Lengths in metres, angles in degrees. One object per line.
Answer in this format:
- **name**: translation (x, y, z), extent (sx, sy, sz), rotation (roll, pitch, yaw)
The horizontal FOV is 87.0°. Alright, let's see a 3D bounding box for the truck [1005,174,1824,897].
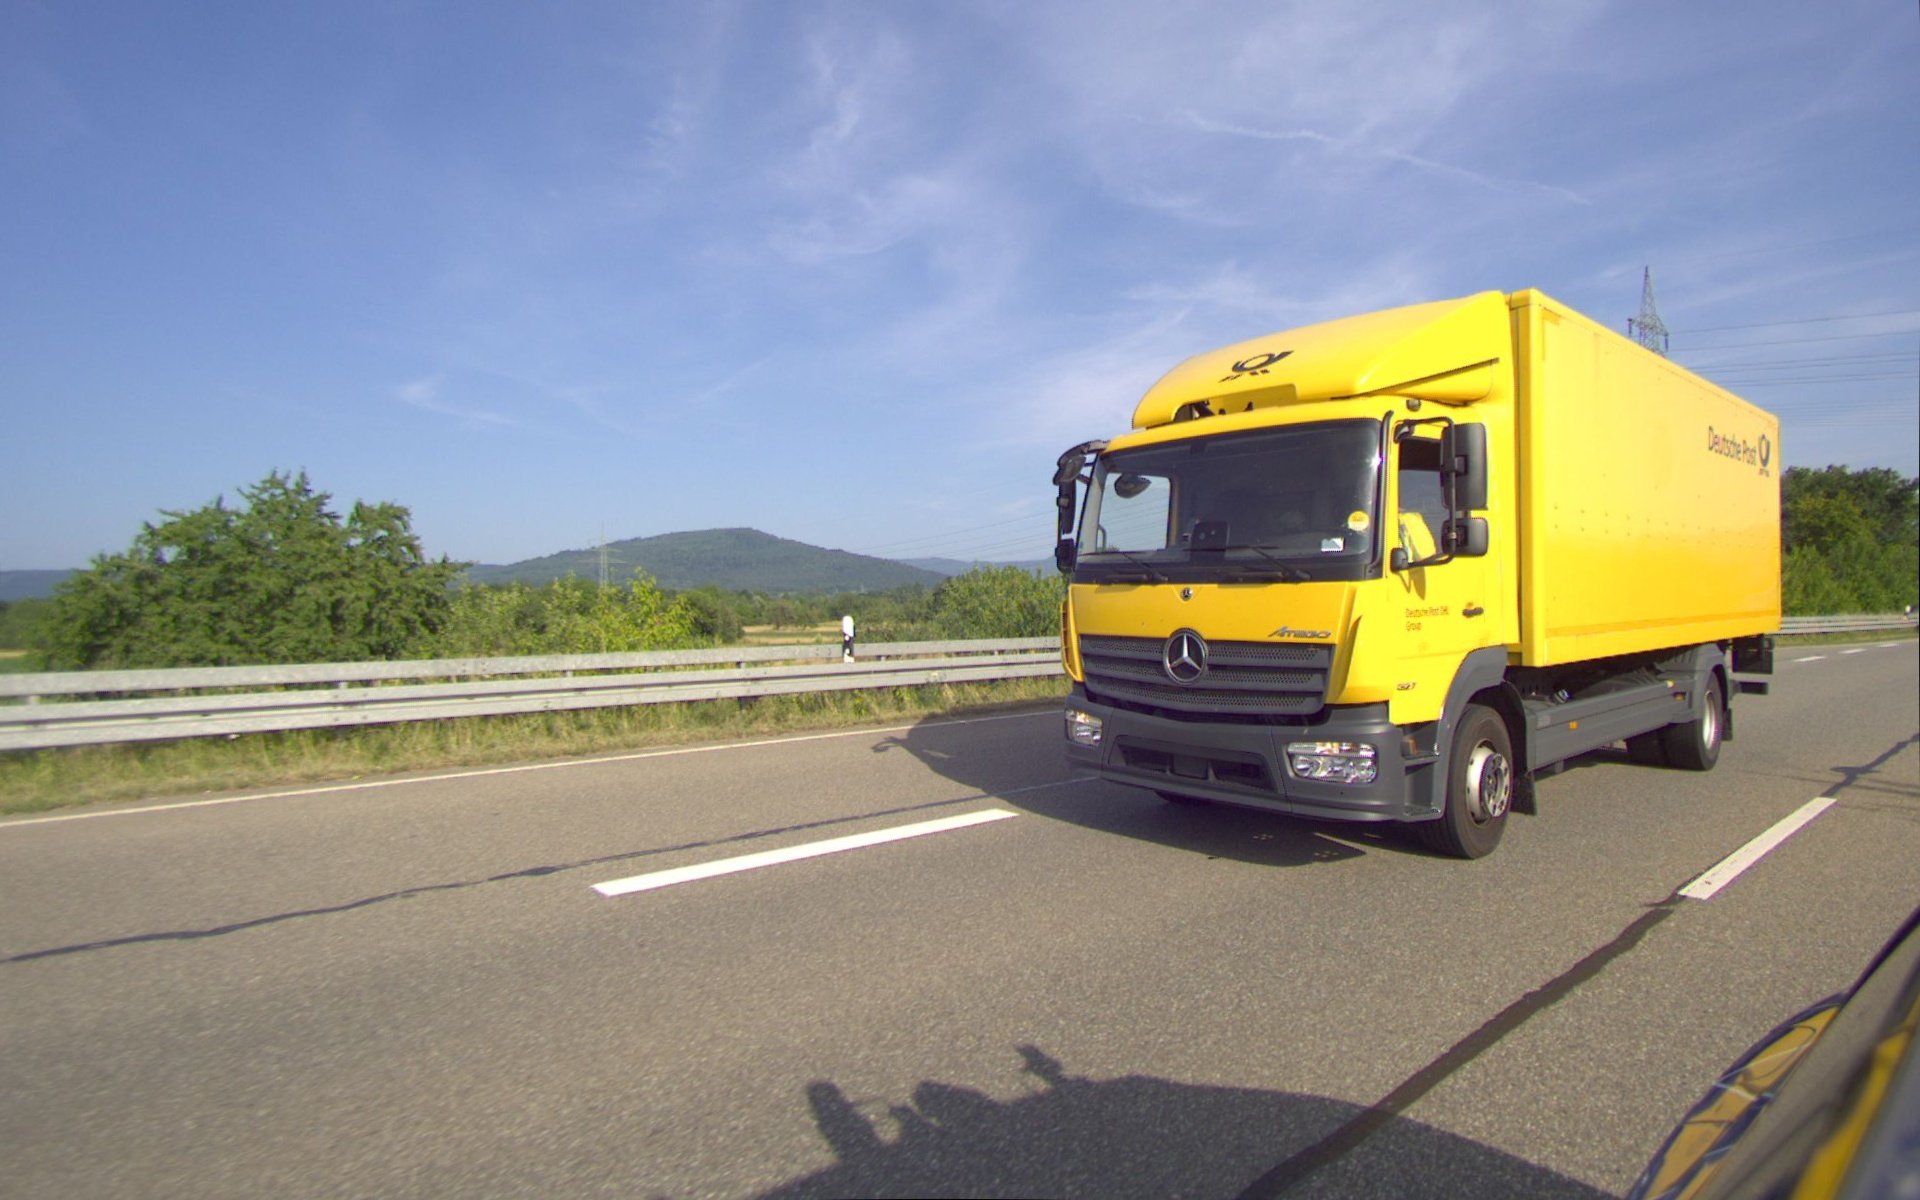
- **truck**: translation (5.076, -0.333, 9.175), extent (10.308, 3.359, 2.783), rotation (0, 0, -42)
